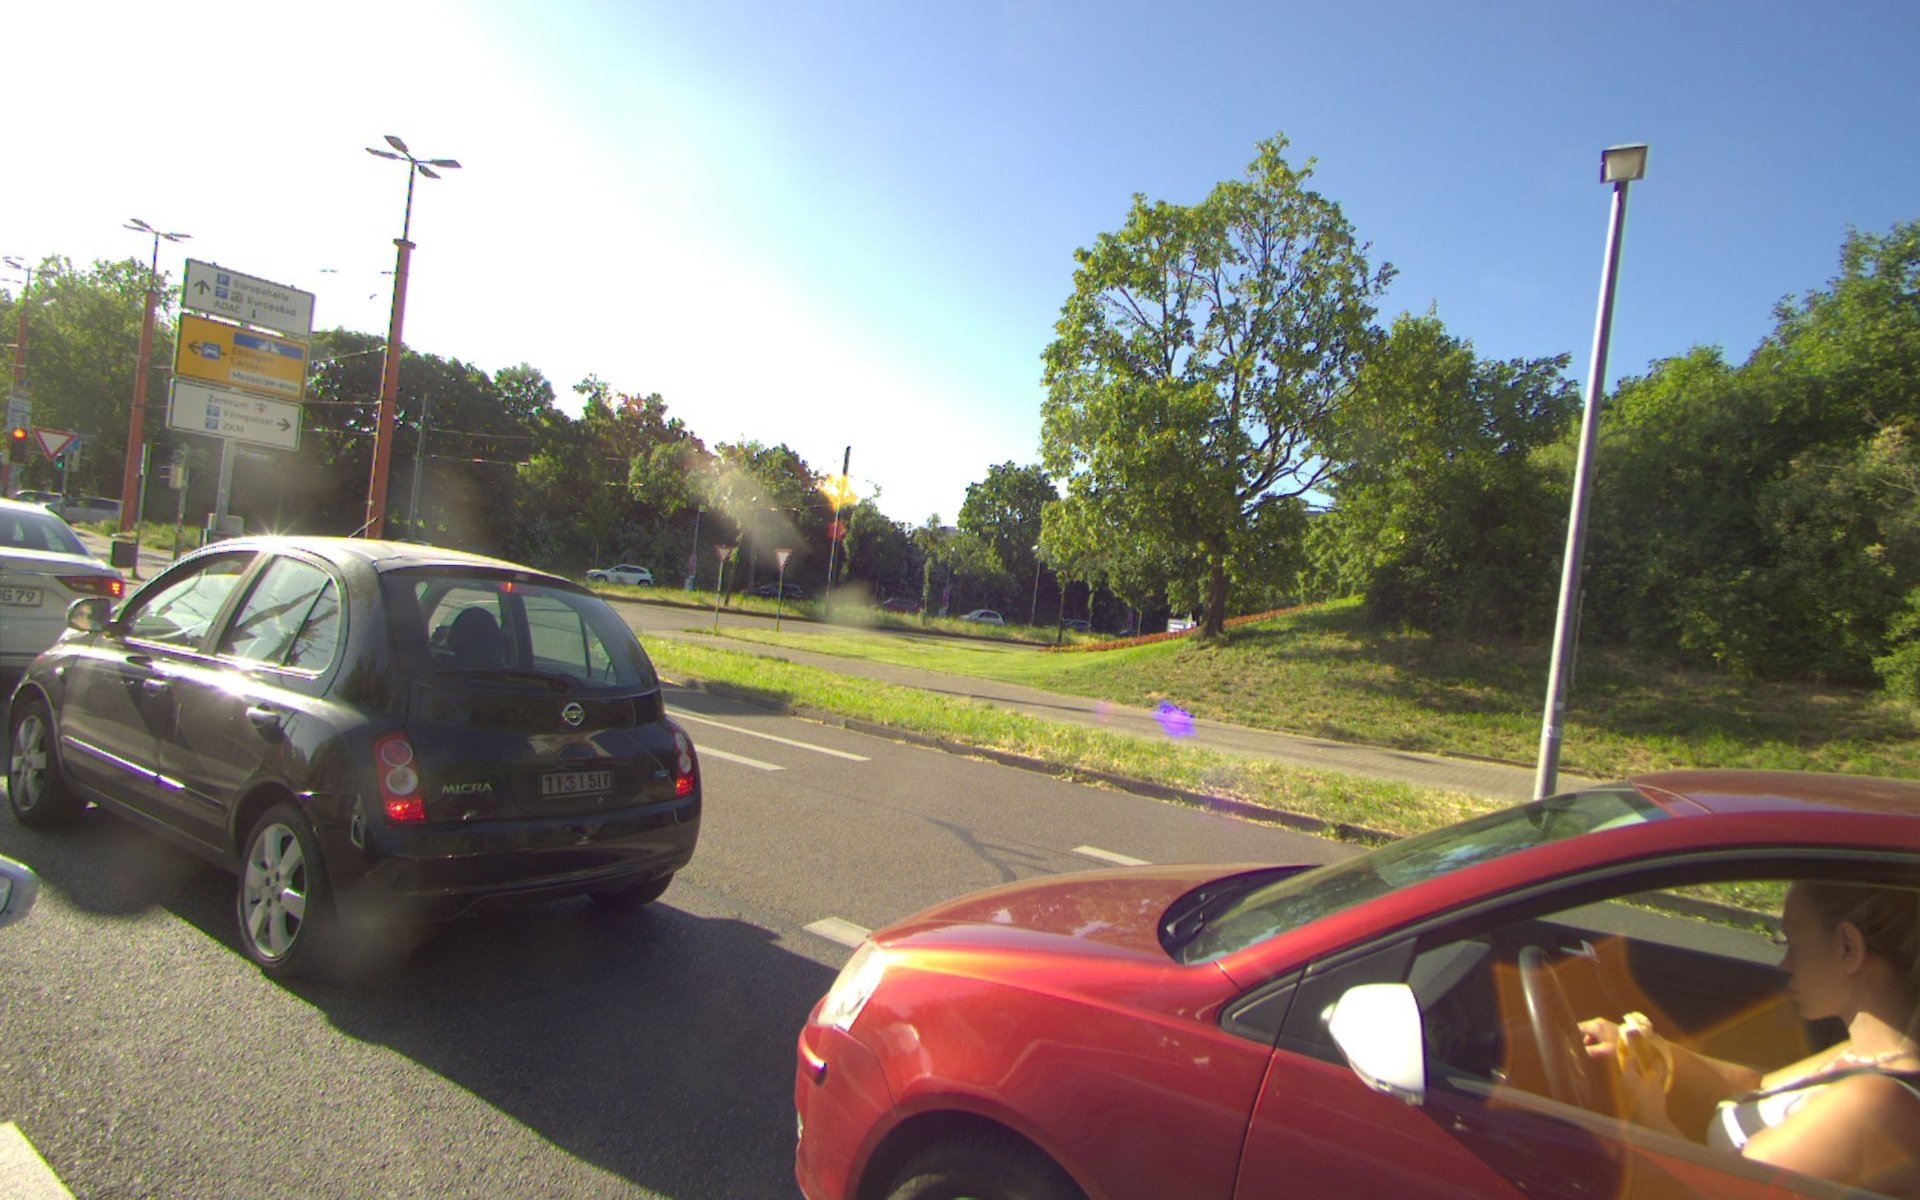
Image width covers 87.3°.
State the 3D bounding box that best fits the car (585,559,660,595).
[{"bbox_3d":[-21.578,-1.445,64.401,4.198,1.701,1.689,8,-1,-30],"label":"car"}]

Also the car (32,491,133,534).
[{"bbox_3d":[-41.890,-4.137,48.111,3.373,1.475,1.452,8,-1,-34],"label":"car"}]

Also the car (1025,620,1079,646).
[{"bbox_3d":[7.417,2.681,81.168,3.955,1.521,1.710,9,-2,-28],"label":"car"}]

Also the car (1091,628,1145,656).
[{"bbox_3d":[13.110,3.464,83.268,3.955,1.693,1.827,9,-2,-28],"label":"car"}]

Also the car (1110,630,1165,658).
[{"bbox_3d":[14.202,3.500,80.577,3.958,1.682,1.823,9,-2,-29],"label":"car"}]

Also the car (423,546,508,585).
[{"bbox_3d":[-28.087,-1.938,57.158,4.000,1.615,1.981,8,-1,-35],"label":"car"}]

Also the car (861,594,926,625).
[{"bbox_3d":[-4.920,0.723,74.402,4.257,1.725,1.833,8,-1,-29],"label":"car"}]

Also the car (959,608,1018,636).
[{"bbox_3d":[2.113,1.621,75.006,3.970,1.546,1.694,8,-1,-30],"label":"car"}]

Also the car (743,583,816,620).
[{"bbox_3d":[-11.806,0.108,65.915,4.169,1.906,1.750,8,-1,-35],"label":"car"}]

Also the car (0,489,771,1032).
[{"bbox_3d":[-2.851,0.463,4.710,3.555,1.518,1.657,7,-2,32],"label":"car"}]

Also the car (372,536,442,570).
[{"bbox_3d":[-31.993,-2.690,58.222,3.414,1.384,1.280,9,-2,-32],"label":"car"}]

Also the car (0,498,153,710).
[{"bbox_3d":[-8.362,-0.174,8.024,4.130,1.454,1.723,7,-1,33],"label":"car"}]

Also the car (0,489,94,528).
[{"bbox_3d":[-45.735,-4.545,49.998,3.805,1.278,1.590,9,-3,-33],"label":"car"}]

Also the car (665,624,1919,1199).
[{"bbox_3d":[1.394,1.019,1.875,3.700,1.455,1.644,6,-2,33],"label":"car"}]
